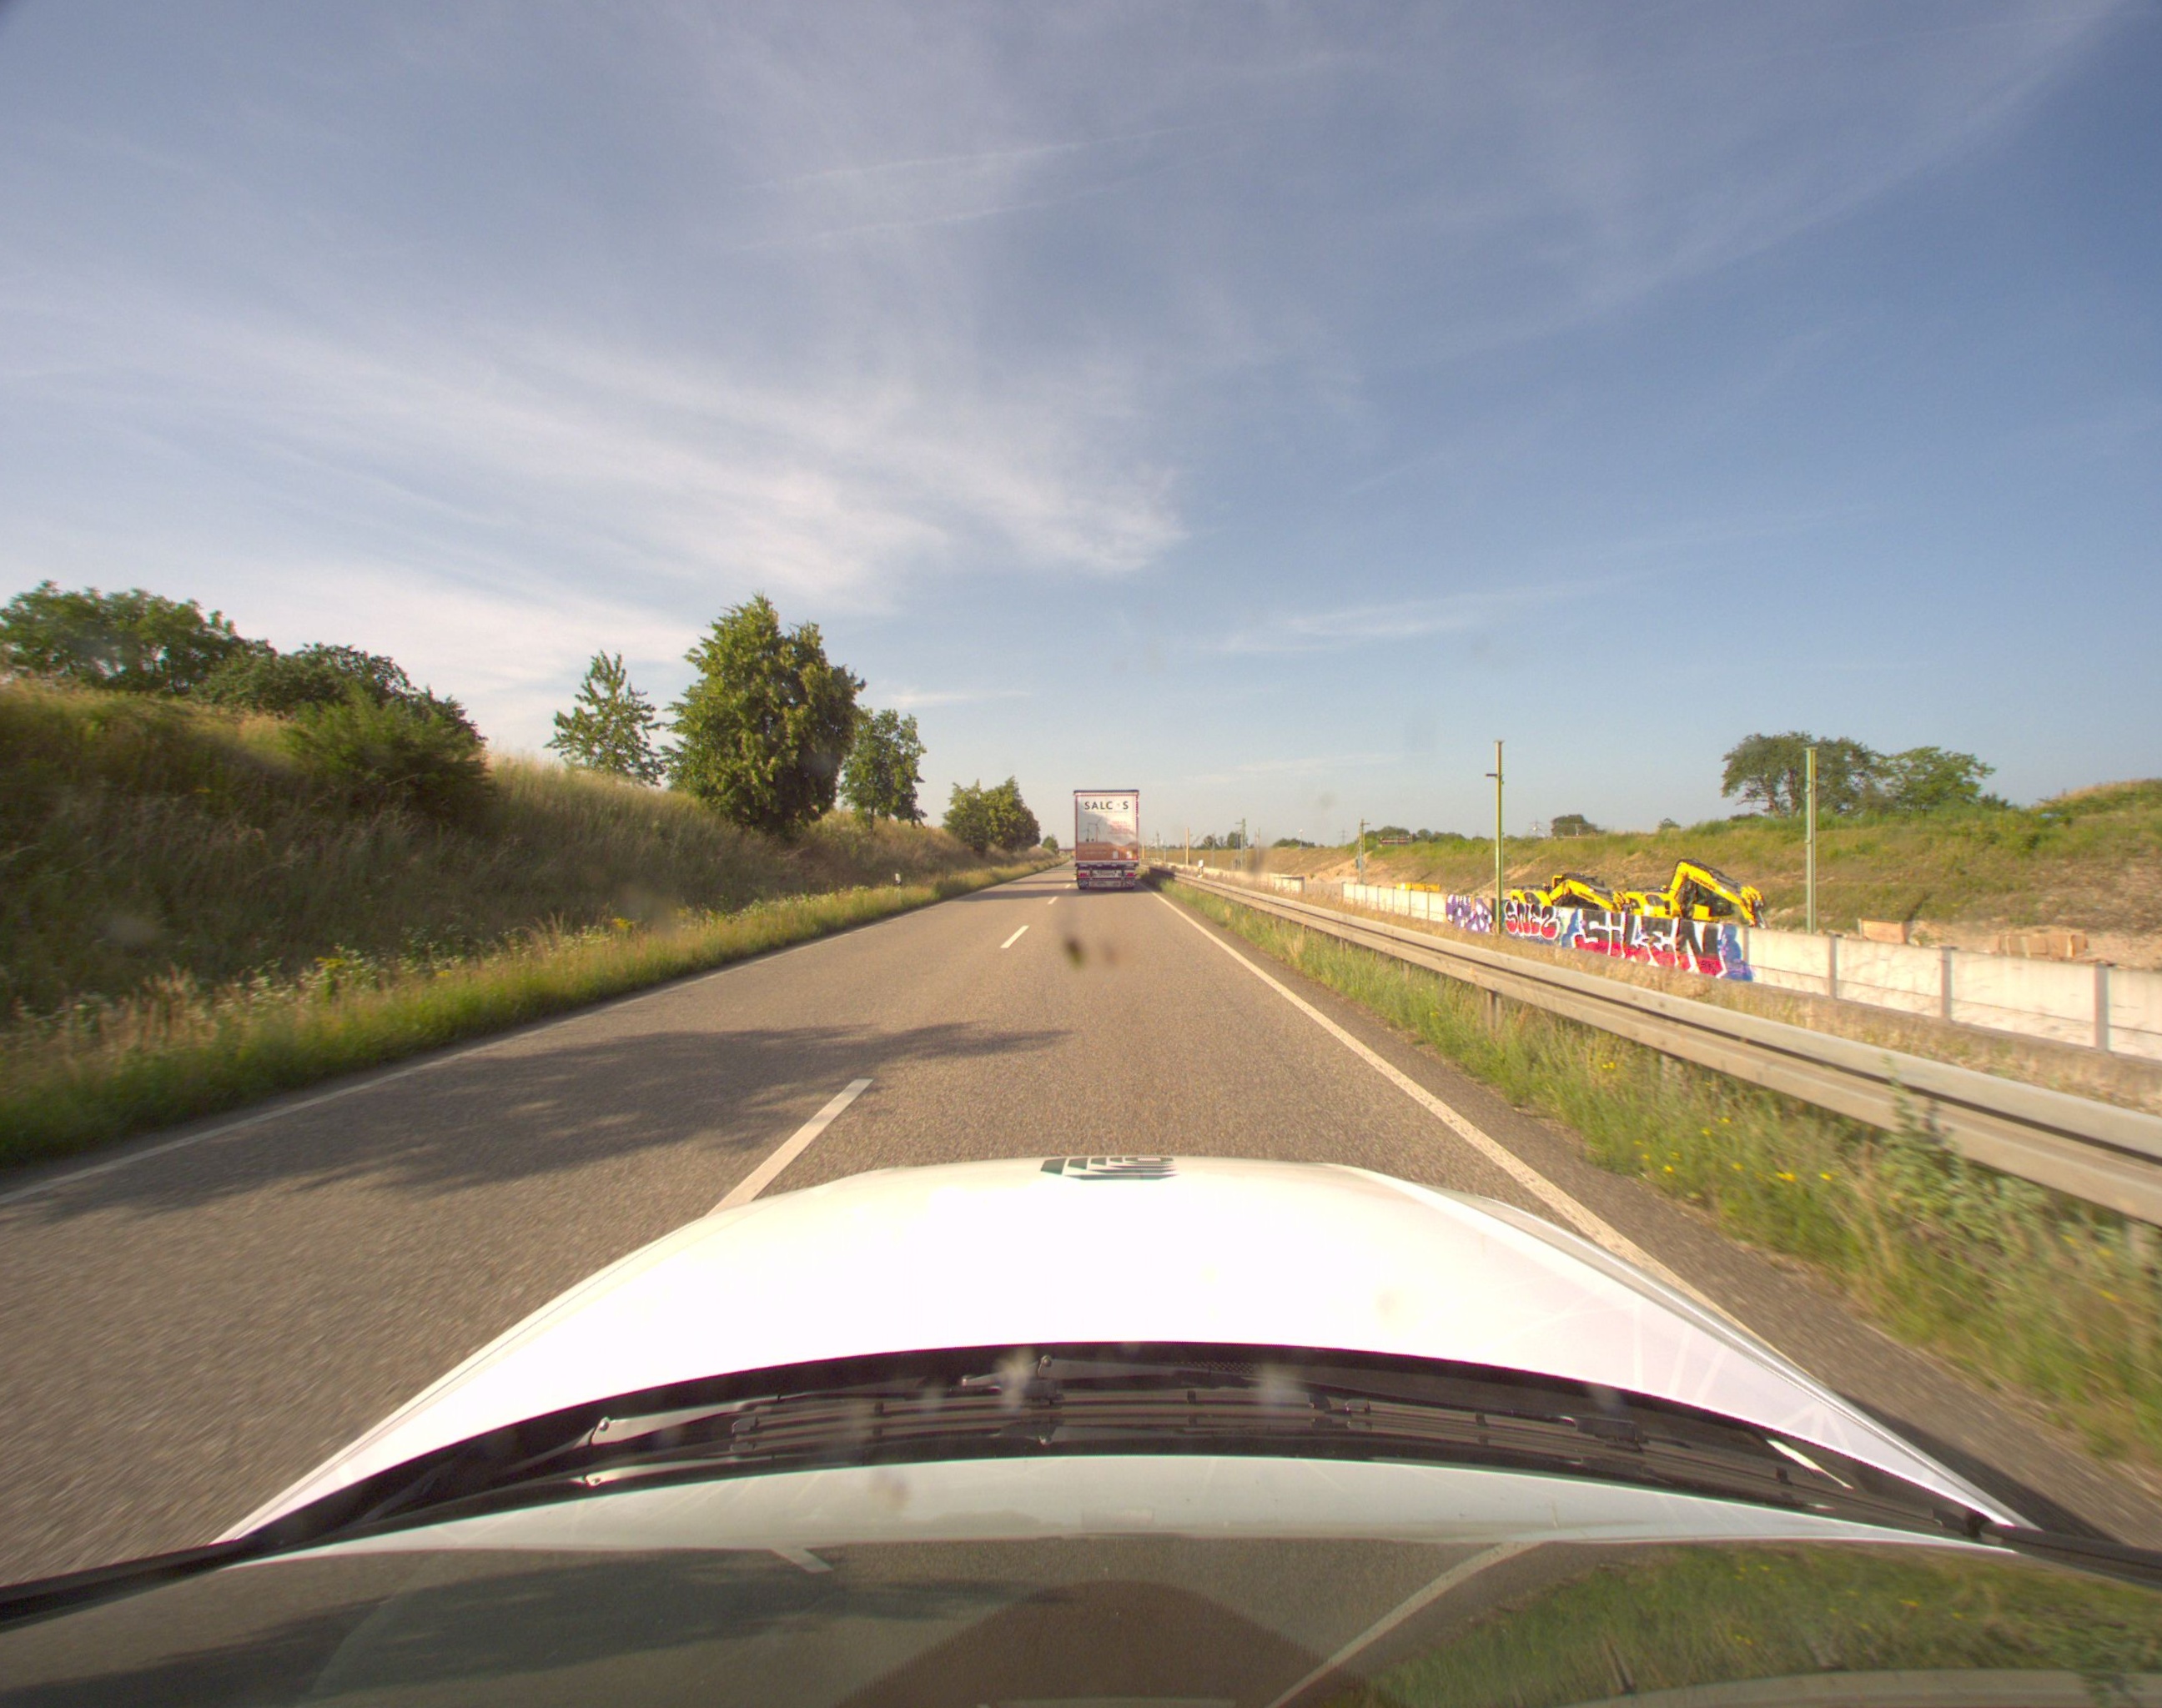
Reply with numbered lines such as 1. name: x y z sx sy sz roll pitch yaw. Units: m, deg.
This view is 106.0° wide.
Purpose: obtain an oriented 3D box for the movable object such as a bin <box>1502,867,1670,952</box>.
1. movable object such as a bin: 22.086 2.252 36.277 2.612 3.239 8.075 0 0 1

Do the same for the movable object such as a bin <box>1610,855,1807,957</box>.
1. movable object such as a bin: 26.519 1.999 35.000 2.786 3.886 7.539 0 0 1

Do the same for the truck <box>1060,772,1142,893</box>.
1. truck: 0.952 -0.835 36.156 3.141 4.688 8.446 -1 0 2
